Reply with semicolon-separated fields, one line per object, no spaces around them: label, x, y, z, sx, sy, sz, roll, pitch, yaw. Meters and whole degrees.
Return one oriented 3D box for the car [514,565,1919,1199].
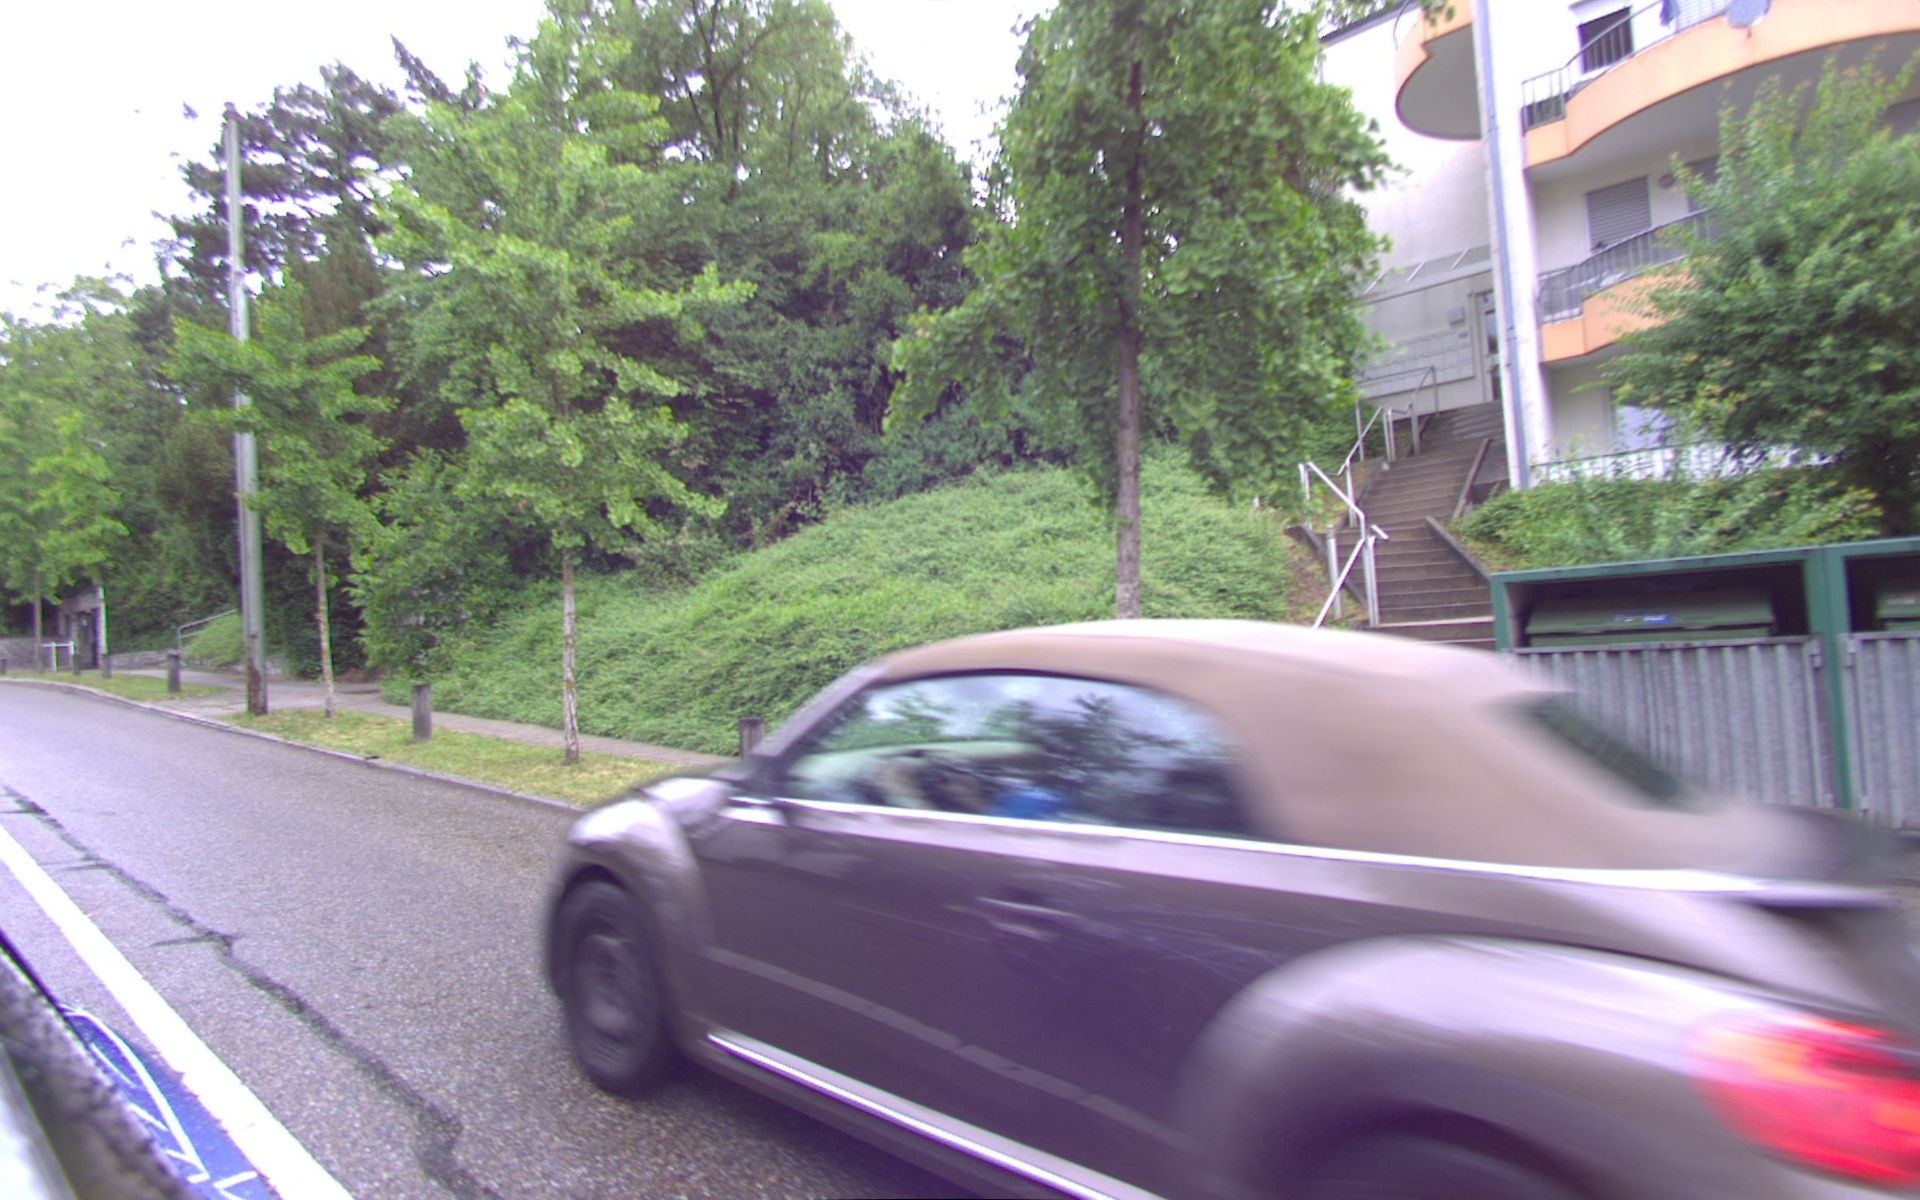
car;0.628;0.746;2.701;3.997;1.459;1.759;-2;-3;40
